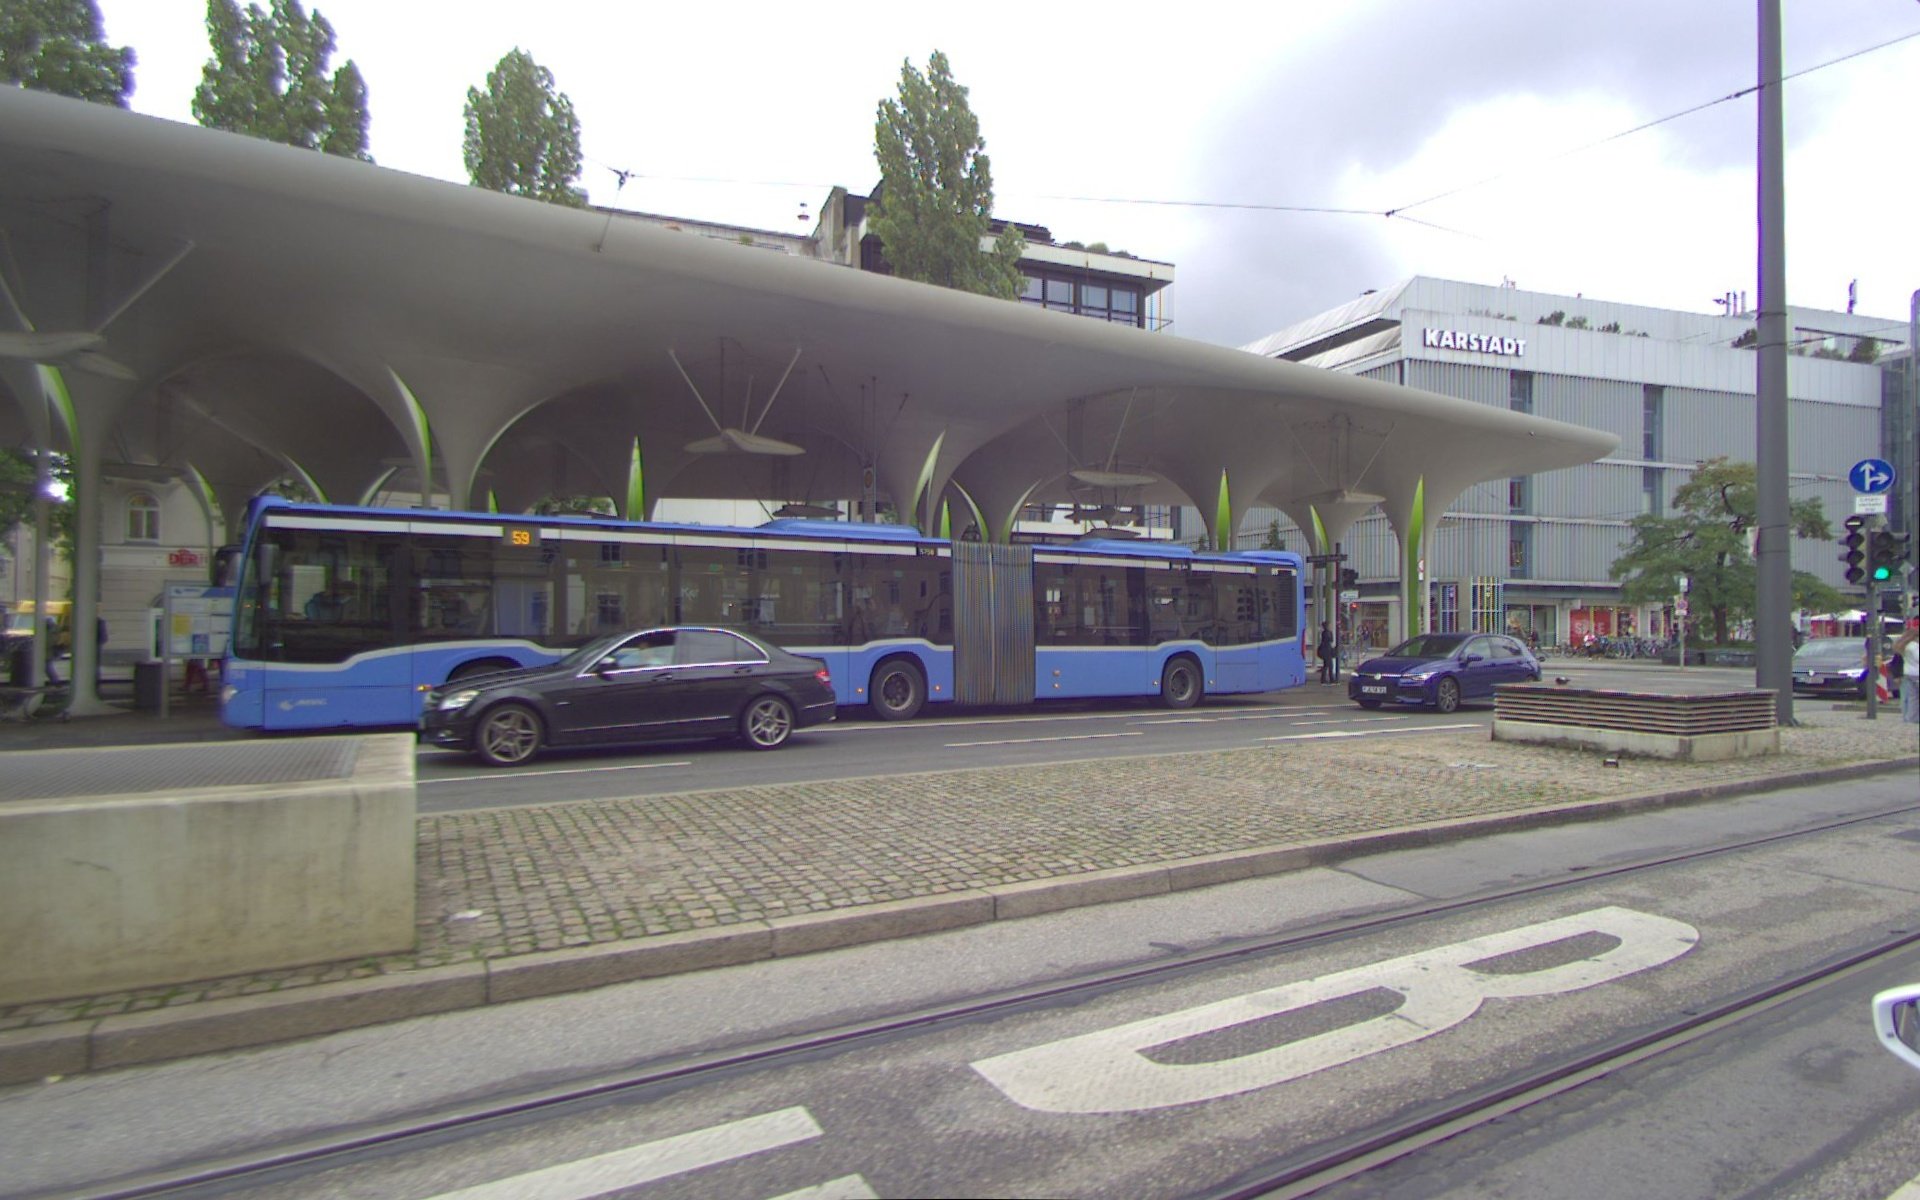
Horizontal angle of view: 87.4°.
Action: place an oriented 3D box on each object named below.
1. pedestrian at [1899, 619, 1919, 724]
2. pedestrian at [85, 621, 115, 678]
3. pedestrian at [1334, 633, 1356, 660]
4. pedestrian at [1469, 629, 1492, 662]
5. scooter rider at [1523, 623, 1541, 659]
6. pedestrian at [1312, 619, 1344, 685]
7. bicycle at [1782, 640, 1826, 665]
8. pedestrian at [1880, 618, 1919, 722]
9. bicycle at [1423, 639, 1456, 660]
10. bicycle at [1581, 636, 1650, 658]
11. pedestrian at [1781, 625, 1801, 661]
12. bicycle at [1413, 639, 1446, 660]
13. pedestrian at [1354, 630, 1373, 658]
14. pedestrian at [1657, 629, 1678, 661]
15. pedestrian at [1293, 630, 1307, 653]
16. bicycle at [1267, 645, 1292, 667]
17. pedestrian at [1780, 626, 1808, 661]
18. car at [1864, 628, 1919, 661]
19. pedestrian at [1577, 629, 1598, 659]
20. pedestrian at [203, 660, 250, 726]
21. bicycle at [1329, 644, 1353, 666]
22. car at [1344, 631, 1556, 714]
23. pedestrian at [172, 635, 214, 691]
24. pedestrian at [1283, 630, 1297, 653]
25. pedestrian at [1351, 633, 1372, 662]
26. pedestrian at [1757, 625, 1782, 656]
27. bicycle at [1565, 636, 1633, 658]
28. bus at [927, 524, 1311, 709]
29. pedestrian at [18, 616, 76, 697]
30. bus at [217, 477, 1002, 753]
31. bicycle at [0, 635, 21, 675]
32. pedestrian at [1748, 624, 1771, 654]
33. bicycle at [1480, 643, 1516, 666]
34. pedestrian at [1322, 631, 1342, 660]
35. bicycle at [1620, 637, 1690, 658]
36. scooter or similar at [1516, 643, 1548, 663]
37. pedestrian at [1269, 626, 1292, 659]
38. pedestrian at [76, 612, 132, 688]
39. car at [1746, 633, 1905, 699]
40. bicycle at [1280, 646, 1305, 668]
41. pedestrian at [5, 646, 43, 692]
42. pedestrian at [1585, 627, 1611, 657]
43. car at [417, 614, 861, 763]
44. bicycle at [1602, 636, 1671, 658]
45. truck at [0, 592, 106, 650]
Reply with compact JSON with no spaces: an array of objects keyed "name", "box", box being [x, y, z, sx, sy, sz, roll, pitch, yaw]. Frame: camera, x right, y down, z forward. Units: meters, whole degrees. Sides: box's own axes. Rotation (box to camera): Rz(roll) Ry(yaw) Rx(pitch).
[{"name":"pedestrian","box":[15.275,1.119,15.847,0.454,1.640,0.522,0,-1,14]},{"name":"pedestrian","box":[-28.461,1.631,33.243,0.546,1.838,0.556,1,-1,-18]},{"name":"pedestrian","box":[22.598,2.722,58.954,0.934,1.609,0.739,0,-1,-18]},{"name":"pedestrian","box":[26.183,2.285,50.535,0.804,1.640,0.831,0,-1,-44]},{"name":"scooter rider","box":[29.747,2.148,52.235,0.615,1.859,0.660,1,-1,-39]},{"name":"pedestrian","box":[9.906,1.393,27.019,0.606,1.743,0.546,1,-1,-22]},{"name":"bicycle","box":[39.615,2.442,47.143,0.368,1.126,1.569,1,-1,-25]},{"name":"pedestrian","box":[15.313,1.120,16.255,0.478,1.640,0.557,0,-1,26]},{"name":"bicycle","box":[24.600,2.545,51.525,1.962,1.011,0.524,3,-2,-30]},{"name":"bicycle","box":[37.527,2.672,57.618,1.042,1.172,3.493,1,-2,-16]},{"name":"pedestrian","box":[41.817,2.144,50.565,0.739,1.796,0.770,-1,-1,37]},{"name":"bicycle","box":[24.360,2.568,52.121,1.962,1.011,0.524,3,-2,-30]},{"name":"pedestrian","box":[25.400,2.771,63.205,0.774,1.710,0.784,1,-1,-25]},{"name":"pedestrian","box":[37.523,2.379,53.257,0.774,1.710,0.862,0,-1,26]},{"name":"pedestrian","box":[23.717,2.912,70.063,0.646,1.573,0.678,1,-1,-21]},{"name":"bicycle","box":[14.369,2.528,45.158,0.448,0.952,1.724,-1,-3,39]},{"name":"pedestrian","box":[41.115,2.135,49.510,0.740,1.676,0.770,0,-1,-19]},{"name":"car","box":[47.478,2.242,50.976,4.382,1.556,1.976,1,-2,-42]},{"name":"pedestrian","box":[33.228,2.331,53.182,0.709,1.595,0.637,1,-1,-19]},{"name":"pedestrian","box":[-17.842,2.250,24.442,0.888,1.528,0.738,1,-2,-37]},{"name":"bicycle","box":[16.698,2.408,44.016,0.448,0.952,1.723,-1,-3,39]},{"name":"car","box":[9.333,1.315,19.057,4.186,1.414,1.669,1,-3,-32]},{"name":"pedestrian","box":[-17.682,1.450,23.171,0.564,1.282,0.519,0,-1,-3]},{"name":"pedestrian","box":[22.882,2.894,69.673,0.646,1.573,0.678,1,-1,-21]},{"name":"pedestrian","box":[23.125,2.745,57.833,0.844,1.664,0.786,0,-1,-18]},{"name":"pedestrian","box":[41.471,2.065,51.459,0.736,1.575,0.773,0,-1,17]},{"name":"bicycle","box":[36.368,2.646,57.240,1.042,1.172,3.493,1,-2,-16]},{"name":"bus","box":[3.231,0.402,19.567,7.426,3.047,2.648,1,-3,-31]},{"name":"pedestrian","box":[-18.900,1.150,20.808,0.690,1.639,0.644,1,-1,-26]},{"name":"bus","box":[-4.420,0.314,14.965,10.397,3.047,2.647,1,-3,-32]},{"name":"bicycle","box":[-33.663,1.856,33.813,2.894,1.331,0.839,1,-1,-17]},{"name":"pedestrian","box":[40.610,1.964,51.030,0.737,1.513,0.772,0,-1,26]},{"name":"bicycle","box":[26.032,2.641,48.594,1.962,1.011,0.524,3,-2,-30]},{"name":"pedestrian","box":[22.135,2.703,59.757,0.838,1.676,0.799,0,-1,-18]},{"name":"bicycle","box":[40.460,2.740,58.571,1.042,1.172,3.493,1,-2,-16]},{"name":"scooter or similar","box":[29.721,2.762,52.179,0.411,0.995,1.389,1,-2,-38]},{"name":"pedestrian","box":[16.395,2.167,51.371,0.779,1.663,0.853,1,-1,-25]},{"name":"pedestrian","box":[-19.594,1.140,23.005,0.635,1.719,0.700,0,-1,11]},{"name":"car","box":[20.822,1.527,24.134,3.991,1.435,1.833,1,-1,-32]},{"name":"bicycle","box":[14.922,2.543,45.121,0.448,0.952,1.723,-1,-3,41]},{"name":"pedestrian","box":[-20.833,1.532,22.350,0.450,1.002,0.513,0,-1,34]},{"name":"pedestrian","box":[35.321,2.323,55.626,0.962,1.602,0.796,1,-1,-19]},{"name":"car","box":[-3.527,0.914,11.392,4.561,1.396,1.664,1,-3,-32]},{"name":"bicycle","box":[39.090,2.708,58.124,1.042,1.172,3.493,1,-2,-16]},{"name":"truck","box":[-43.581,1.036,48.436,2.412,2.546,7.125,1,-2,-30]}]
